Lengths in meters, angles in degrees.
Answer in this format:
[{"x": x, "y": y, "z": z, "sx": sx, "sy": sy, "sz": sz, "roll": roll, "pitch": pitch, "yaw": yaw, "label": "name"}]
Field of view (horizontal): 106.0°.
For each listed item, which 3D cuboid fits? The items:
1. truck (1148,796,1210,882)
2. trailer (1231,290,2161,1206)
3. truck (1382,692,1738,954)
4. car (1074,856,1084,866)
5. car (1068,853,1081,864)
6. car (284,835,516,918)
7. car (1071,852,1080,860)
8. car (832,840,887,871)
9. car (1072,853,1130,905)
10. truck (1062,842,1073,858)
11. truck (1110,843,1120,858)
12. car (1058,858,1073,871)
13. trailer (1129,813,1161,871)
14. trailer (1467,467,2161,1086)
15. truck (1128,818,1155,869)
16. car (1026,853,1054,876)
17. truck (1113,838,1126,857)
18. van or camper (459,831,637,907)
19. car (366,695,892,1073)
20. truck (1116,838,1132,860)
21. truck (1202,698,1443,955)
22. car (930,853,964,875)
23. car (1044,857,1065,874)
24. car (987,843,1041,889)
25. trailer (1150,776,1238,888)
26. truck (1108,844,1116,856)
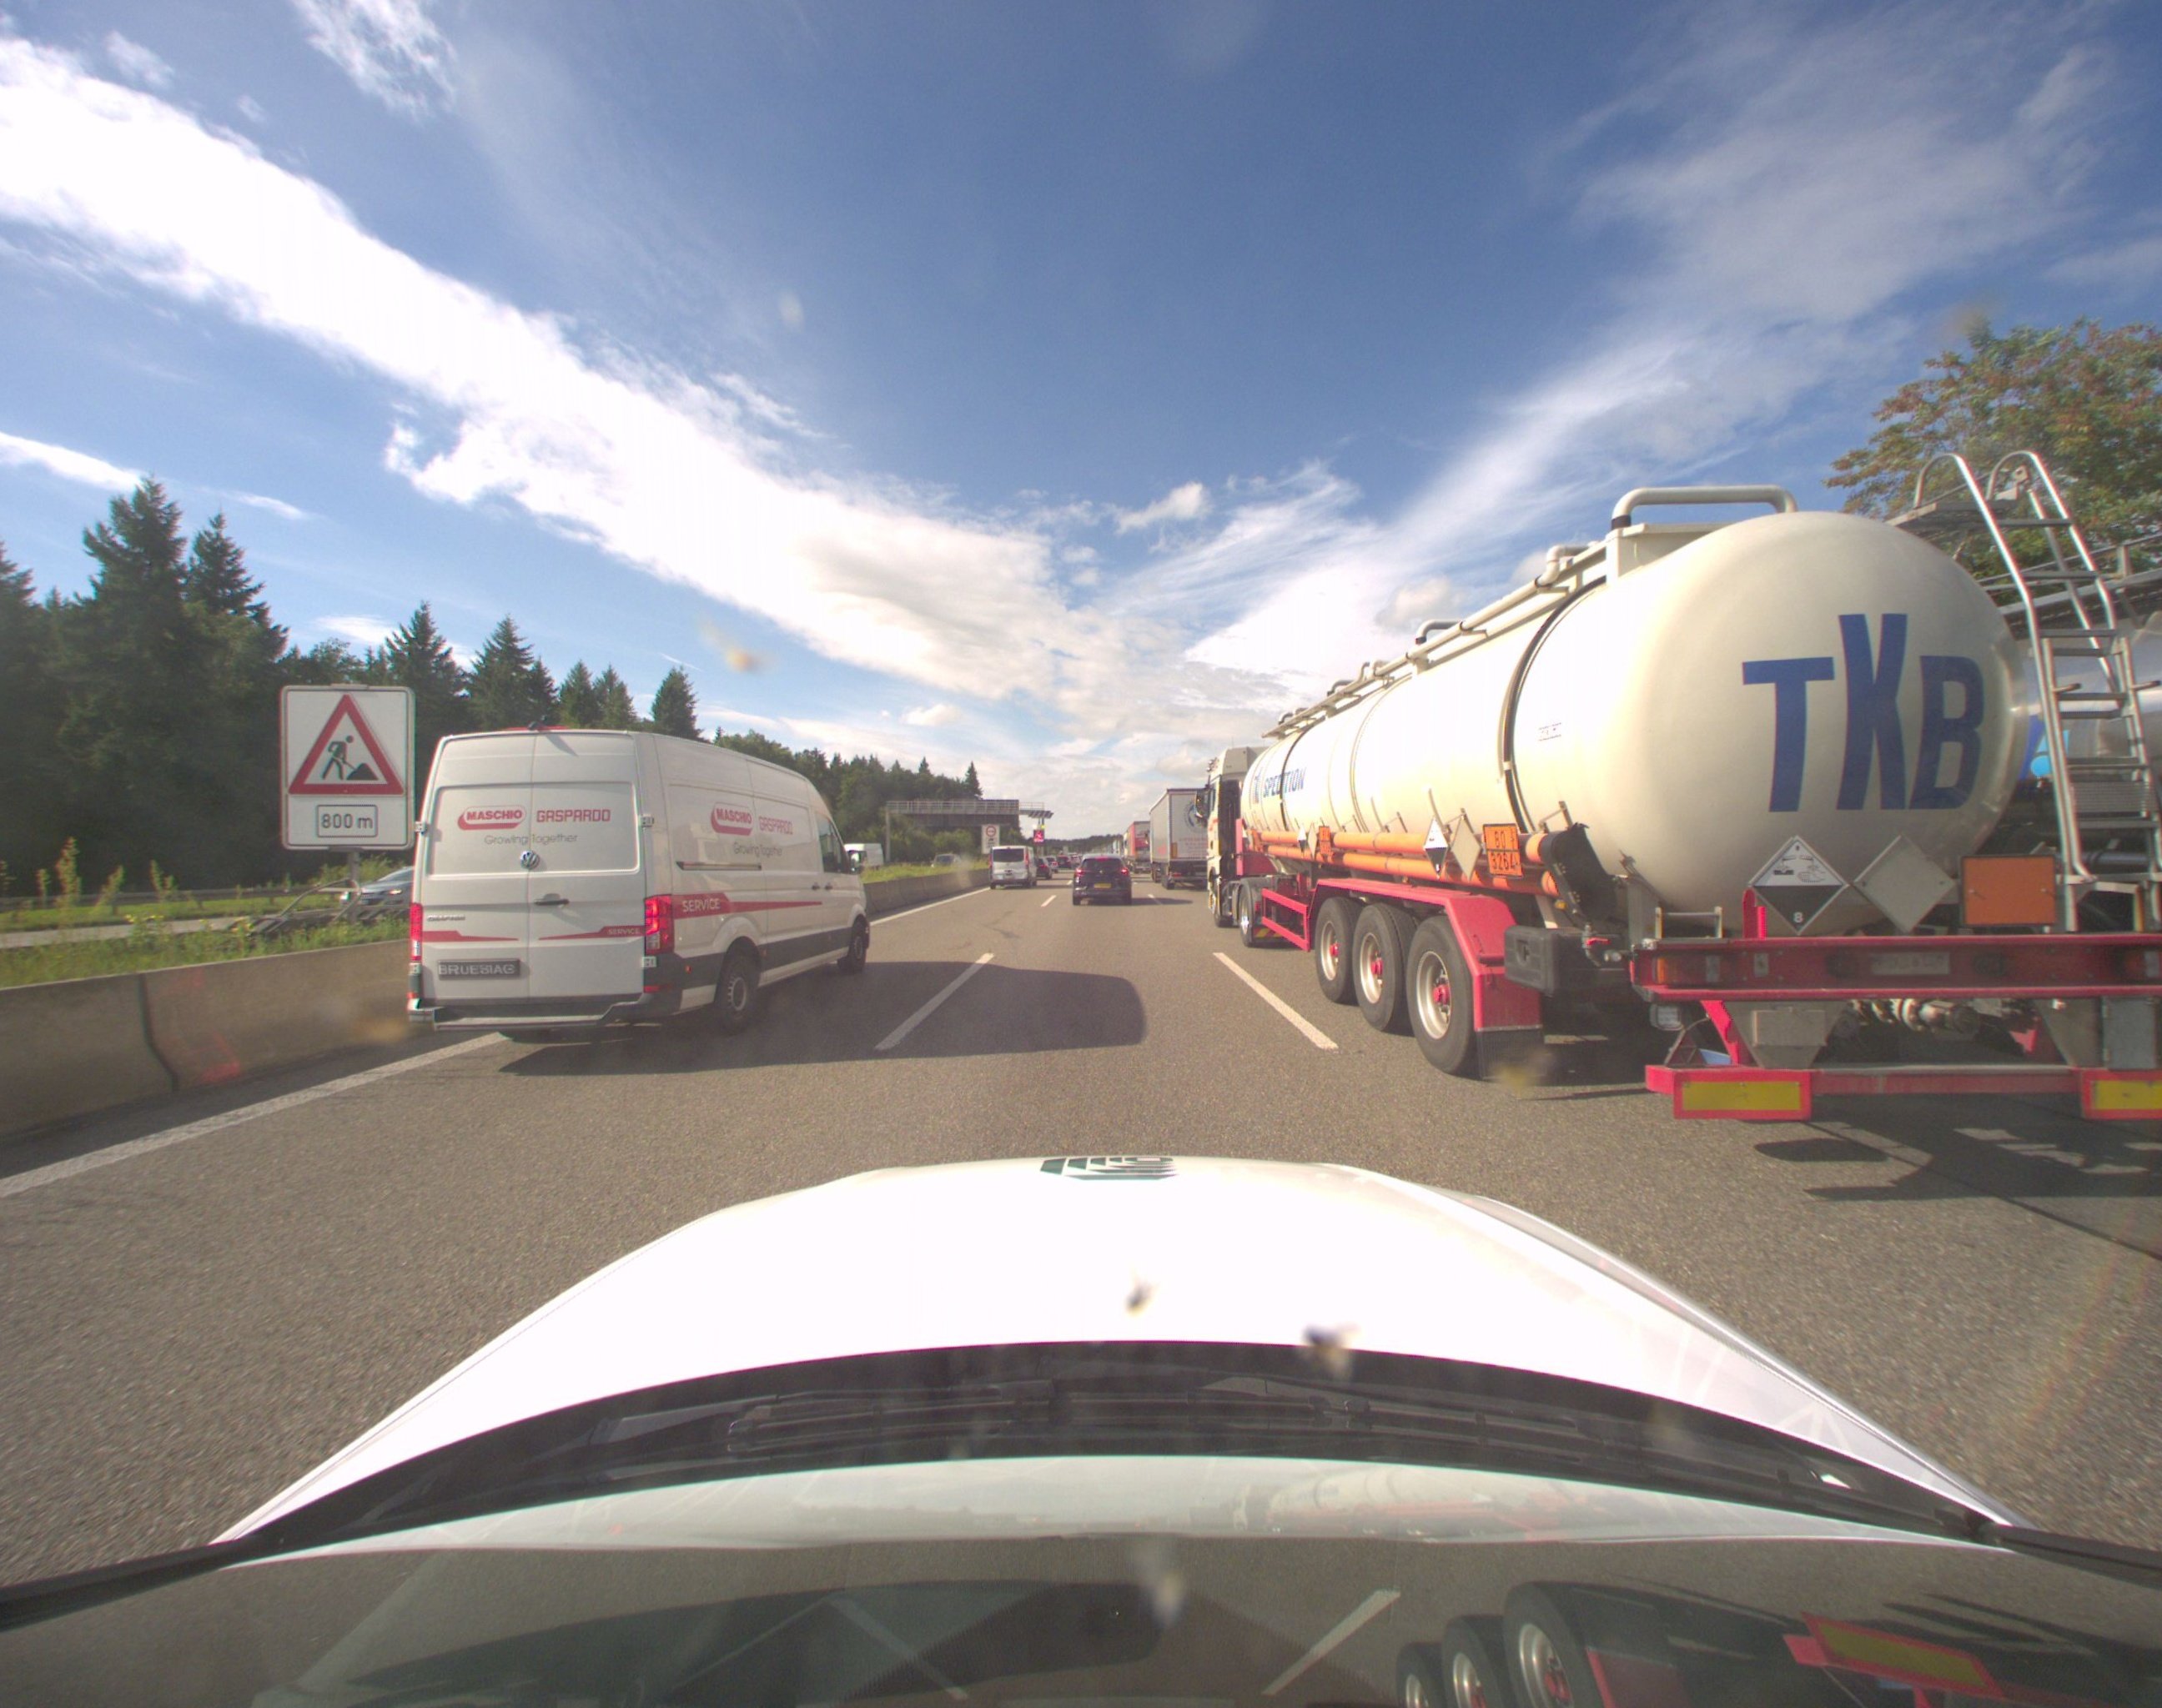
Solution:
[{"x": 5.156, "y": -0.732, "z": 43.867, "sx": 2.775, "sy": 4.247, "sz": 6.463, "roll": -1, "pitch": -1, "yaw": 2, "label": "truck"}, {"x": 3.686, "y": -0.395, "z": 8.579, "sx": 2.531, "sy": 3.654, "sz": 10.630, "roll": -1, "pitch": 0, "yaw": 2, "label": "trailer"}, {"x": 7.887, "y": -0.409, "z": 14.679, "sx": 2.520, "sy": 3.573, "sz": 6.778, "roll": -1, "pitch": -1, "yaw": 2, "label": "truck"}, {"x": -0.249, "y": 1.043, "z": 118.577, "sx": 1.356, "sy": 1.301, "sz": 3.085, "roll": 2, "pitch": 0, "yaw": 1, "label": "car"}, {"x": -0.785, "y": 0.557, "z": 103.251, "sx": 1.430, "sy": 1.310, "sz": 3.534, "roll": 2, "pitch": 0, "yaw": 1, "label": "car"}, {"x": -18.887, "y": 0.584, "z": 23.022, "sx": 2.232, "sy": 2.057, "sz": 5.083, "roll": 0, "pitch": 0, "yaw": 1, "label": "car"}, {"x": -0.828, "y": 0.360, "z": 124.167, "sx": 1.356, "sy": 1.238, "sz": 3.085, "roll": 0, "pitch": 0, "yaw": 1, "label": "car"}, {"x": -17.383, "y": 0.148, "z": 64.413, "sx": 2.308, "sy": 2.193, "sz": 6.864, "roll": 2, "pitch": 0, "yaw": 1, "label": "car"}, {"x": 0.681, "y": 0.736, "z": 25.778, "sx": 1.690, "sy": 1.483, "sz": 4.163, "roll": 0, "pitch": 0, "yaw": 3, "label": "car"}, {"x": -3.244, "y": -0.992, "z": 196.693, "sx": 2.335, "sy": 3.594, "sz": 6.307, "roll": 2, "pitch": 0, "yaw": 2, "label": "truck"}, {"x": 7.627, "y": -0.781, "z": 184.108, "sx": 1.986, "sy": 3.052, "sz": 4.984, "roll": 2, "pitch": 0, "yaw": 2, "label": "truck"}, {"x": -1.650, "y": 1.147, "z": 87.387, "sx": 1.430, "sy": 1.310, "sz": 3.534, "roll": 2, "pitch": 0, "yaw": 1, "label": "car"}, {"x": 4.994, "y": -0.859, "z": 64.736, "sx": 2.141, "sy": 4.259, "sz": 8.444, "roll": 0, "pitch": 0, "yaw": 2, "label": "trailer"}, {"x": 7.680, "y": -0.439, "z": 8.458, "sx": 2.531, "sy": 3.598, "sz": 10.630, "roll": -1, "pitch": 0, "yaw": 2, "label": "trailer"}, {"x": 5.218, "y": -0.842, "z": 71.159, "sx": 2.125, "sy": 4.282, "sz": 6.341, "roll": 0, "pitch": -1, "yaw": 2, "label": "truck"}, {"x": -2.561, "y": 0.631, "z": 51.197, "sx": 1.494, "sy": 1.396, "sz": 3.477, "roll": -1, "pitch": 0, "yaw": 1, "label": "car"}, {"x": 6.553, "y": -1.019, "z": 138.040, "sx": 1.986, "sy": 3.052, "sz": 4.984, "roll": 2, "pitch": 0, "yaw": 2, "label": "truck"}, {"x": -18.781, "y": 0.512, "z": 29.198, "sx": 2.450, "sy": 2.414, "sz": 5.853, "roll": -1, "pitch": 0, "yaw": 1, "label": "van or camper"}, {"x": -3.881, "y": 0.222, "z": 8.771, "sx": 2.007, "sy": 2.599, "sz": 6.184, "roll": -1, "pitch": 0, "yaw": 2, "label": "car"}, {"x": 5.889, "y": -0.615, "z": 112.543, "sx": 1.986, "sy": 2.932, "sz": 4.984, "roll": 2, "pitch": 0, "yaw": 2, "label": "truck"}, {"x": 3.898, "y": -0.366, "z": 14.842, "sx": 2.524, "sy": 3.584, "sz": 6.731, "roll": -1, "pitch": 0, "yaw": 2, "label": "truck"}, {"x": -10.206, "y": 0.771, "z": 62.437, "sx": 1.821, "sy": 1.605, "sz": 3.811, "roll": -1, "pitch": 0, "yaw": 2, "label": "car"}, {"x": -2.287, "y": 0.966, "z": 70.808, "sx": 1.494, "sy": 1.396, "sz": 3.477, "roll": 2, "pitch": 0, "yaw": 1, "label": "car"}, {"x": -3.135, "y": 0.553, "z": 38.989, "sx": 1.926, "sy": 1.979, "sz": 5.100, "roll": 2, "pitch": 0, "yaw": 1, "label": "car"}, {"x": 4.819, "y": -0.789, "z": 36.796, "sx": 2.791, "sy": 4.244, "sz": 11.062, "roll": -1, "pitch": 0, "yaw": 2, "label": "trailer"}, {"x": 8.018, "y": -1.027, "z": 210.363, "sx": 1.986, "sy": 3.052, "sz": 4.984, "roll": 2, "pitch": 0, "yaw": 2, "label": "truck"}]
